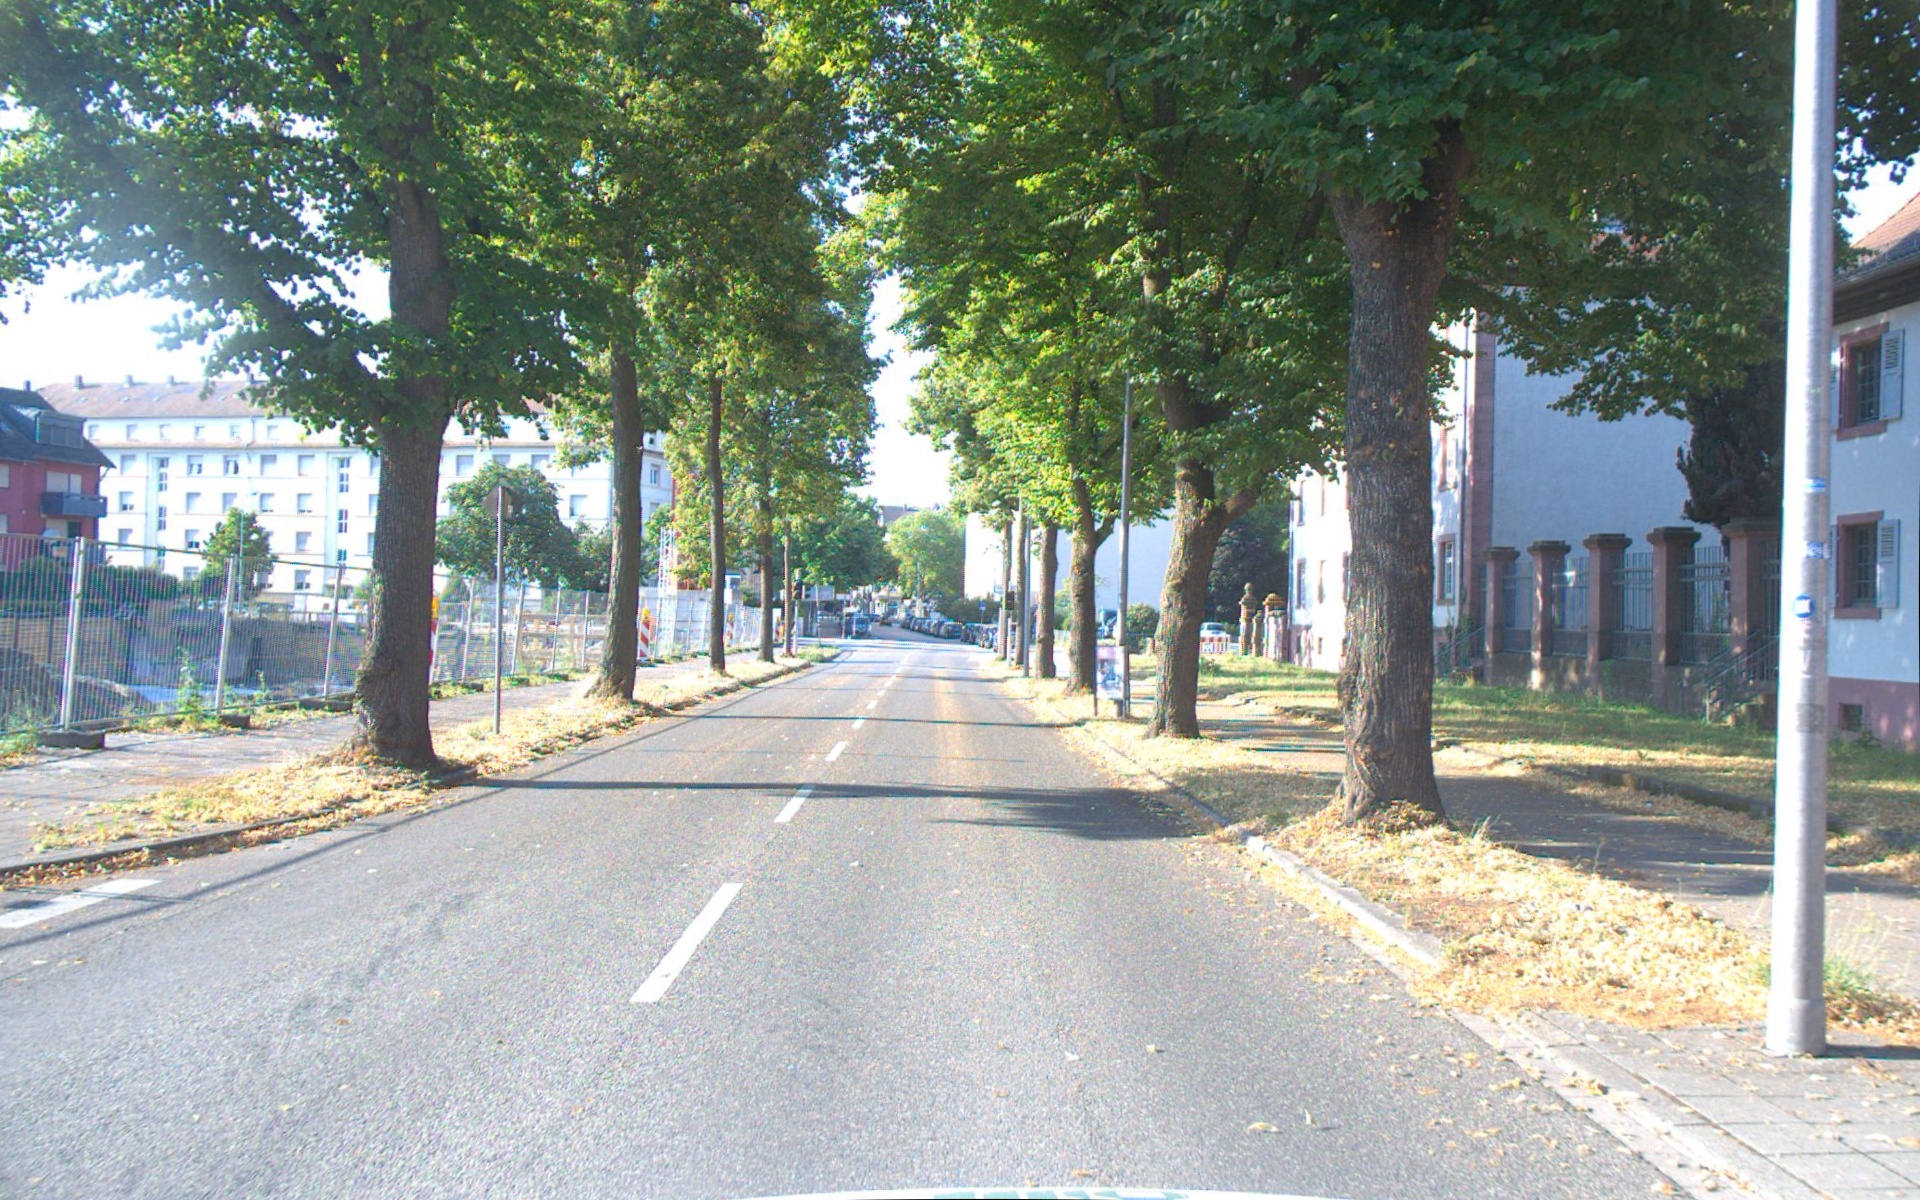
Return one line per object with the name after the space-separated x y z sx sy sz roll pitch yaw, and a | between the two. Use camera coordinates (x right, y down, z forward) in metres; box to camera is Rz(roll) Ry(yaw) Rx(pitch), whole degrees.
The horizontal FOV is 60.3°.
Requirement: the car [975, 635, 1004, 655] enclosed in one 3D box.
2.032 3.113 114.877 1.804 1.283 3.998 1 -1 -1 | car

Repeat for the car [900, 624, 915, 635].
-7.124 3.946 223.045 1.805 1.410 3.996 0 -1 -4 | car

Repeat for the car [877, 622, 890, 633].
-11.020 3.969 238.539 1.680 1.512 3.996 1 -1 -4 | car

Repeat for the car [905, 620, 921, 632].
-5.704 3.213 200.218 1.805 1.410 3.996 1 -1 -4 | car

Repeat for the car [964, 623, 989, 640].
1.304 2.542 132.050 1.804 1.283 3.998 1 -1 -1 | car

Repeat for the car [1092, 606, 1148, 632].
11.860 1.404 122.865 3.906 1.758 1.772 3 -1 0 | car

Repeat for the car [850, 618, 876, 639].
-8.047 2.369 137.187 1.955 1.717 3.994 1 -2 -6 | car

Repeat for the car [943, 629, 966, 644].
-0.488 3.304 150.210 1.805 1.410 3.996 0 -1 -4 | car

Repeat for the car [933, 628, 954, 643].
-1.597 3.467 161.175 1.805 1.410 3.996 1 -1 -4 | car

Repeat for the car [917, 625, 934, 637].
-4.029 3.661 193.811 1.805 1.410 3.996 1 -1 -4 | car

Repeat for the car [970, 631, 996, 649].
1.730 3.028 125.519 1.804 1.283 3.998 0 -1 -1 | car

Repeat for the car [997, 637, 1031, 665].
3.191 3.001 98.019 1.804 1.601 3.998 1 -1 -1 | car

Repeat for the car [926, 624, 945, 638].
-2.568 3.268 173.086 1.805 1.410 3.996 1 -1 -4 | car

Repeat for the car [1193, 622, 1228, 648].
16.695 2.357 110.215 1.775 1.587 3.625 3 -2 1 | car

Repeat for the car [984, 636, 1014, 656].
2.561 3.045 109.264 1.743 1.248 3.998 1 -1 -1 | car
